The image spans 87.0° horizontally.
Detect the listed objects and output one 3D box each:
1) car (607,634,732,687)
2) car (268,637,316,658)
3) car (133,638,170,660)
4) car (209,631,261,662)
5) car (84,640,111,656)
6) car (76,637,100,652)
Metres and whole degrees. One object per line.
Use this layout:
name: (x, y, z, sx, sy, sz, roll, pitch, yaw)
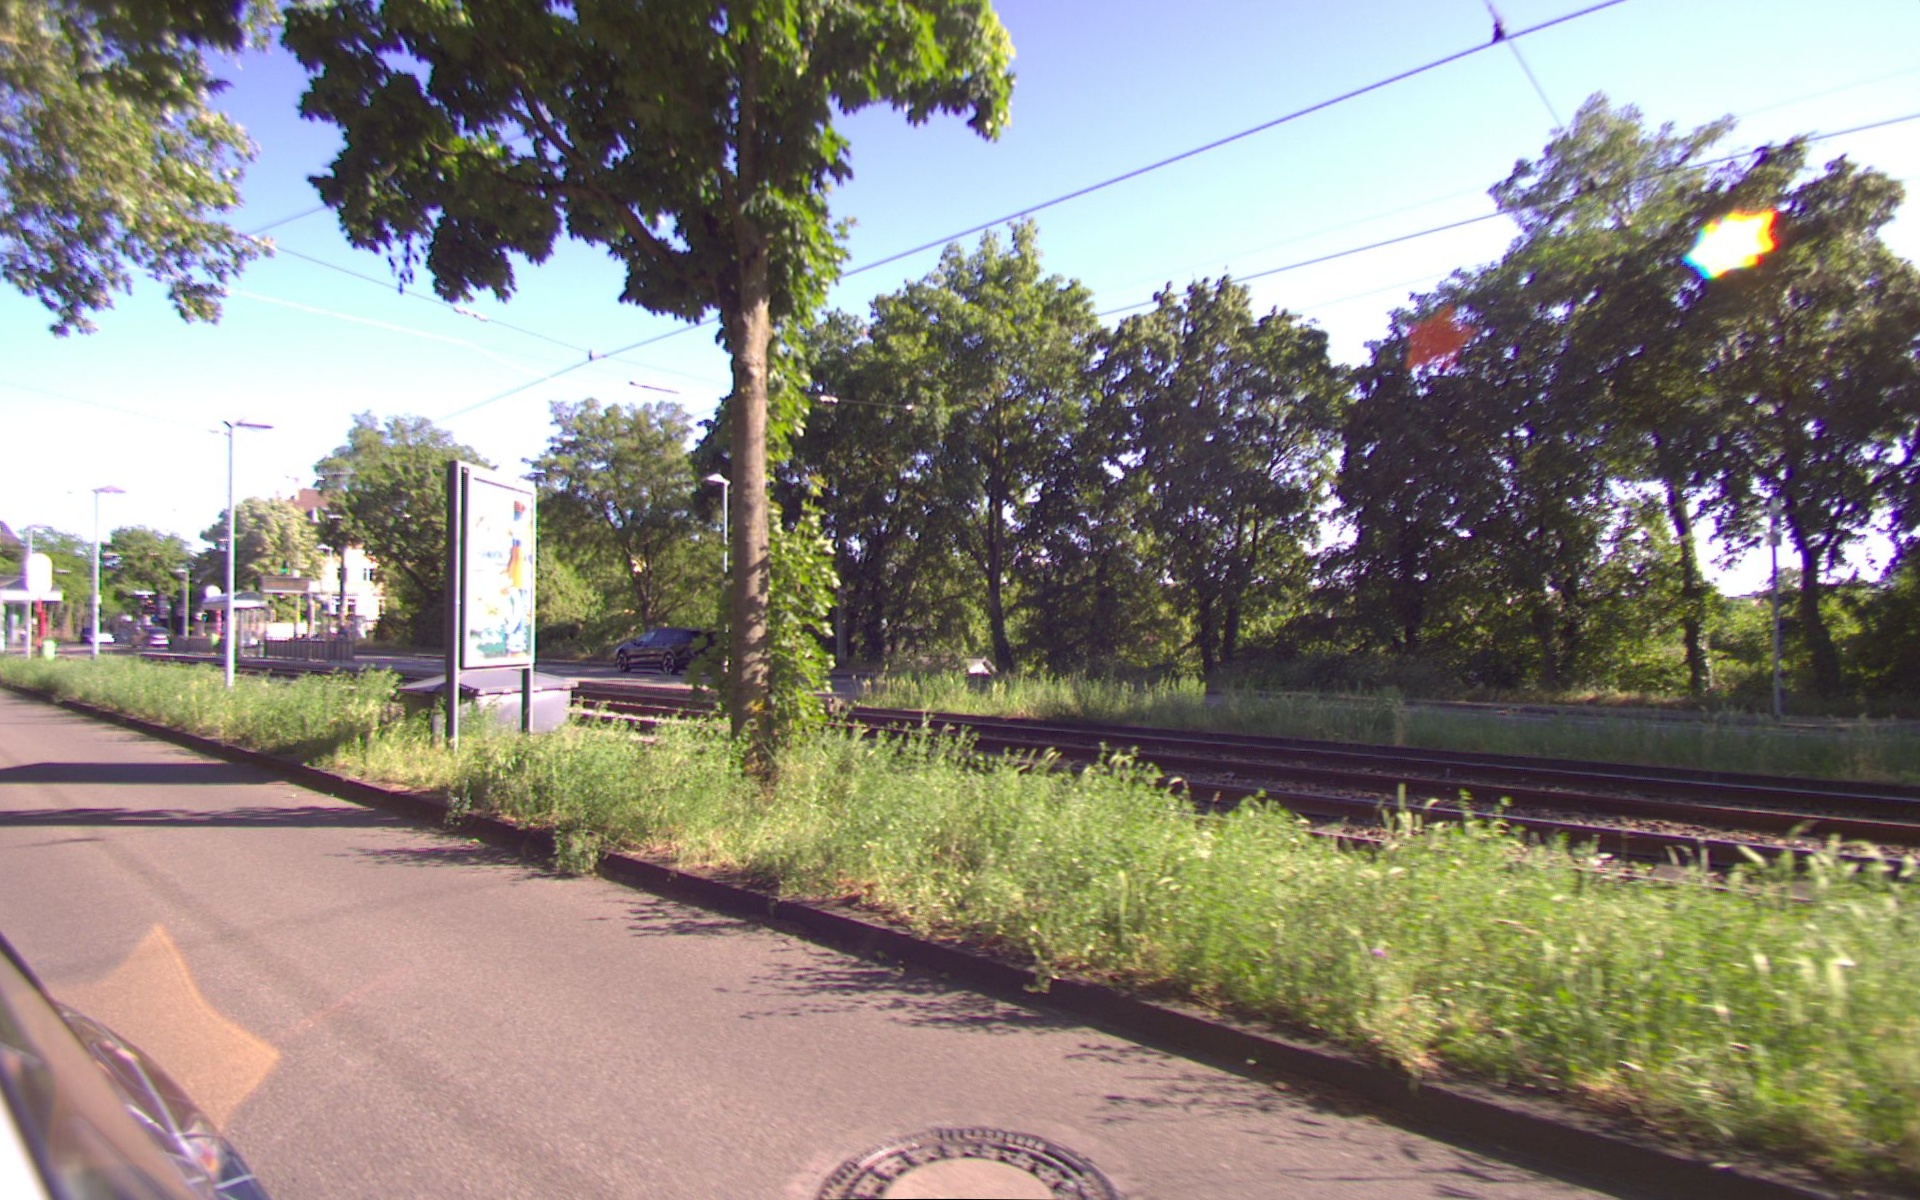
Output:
car: (-9.233, 1.874, 31.971, 4.592, 1.506, 1.619, -1, -4, 43)
car: (-39.320, 2.758, 59.509, 3.675, 1.126, 1.473, -1, 0, 42)
car: (-61.492, 3.714, 76.979, 3.673, 1.569, 1.592, -1, 0, 42)
car: (-40.559, 2.577, 56.600, 3.673, 1.569, 1.592, -1, 0, 42)
car: (-81.894, 4.513, 96.151, 1.825, 1.389, 3.446, -1, 0, -39)
car: (-94.173, 4.747, 109.280, 1.827, 1.497, 3.550, -1, 0, -44)
